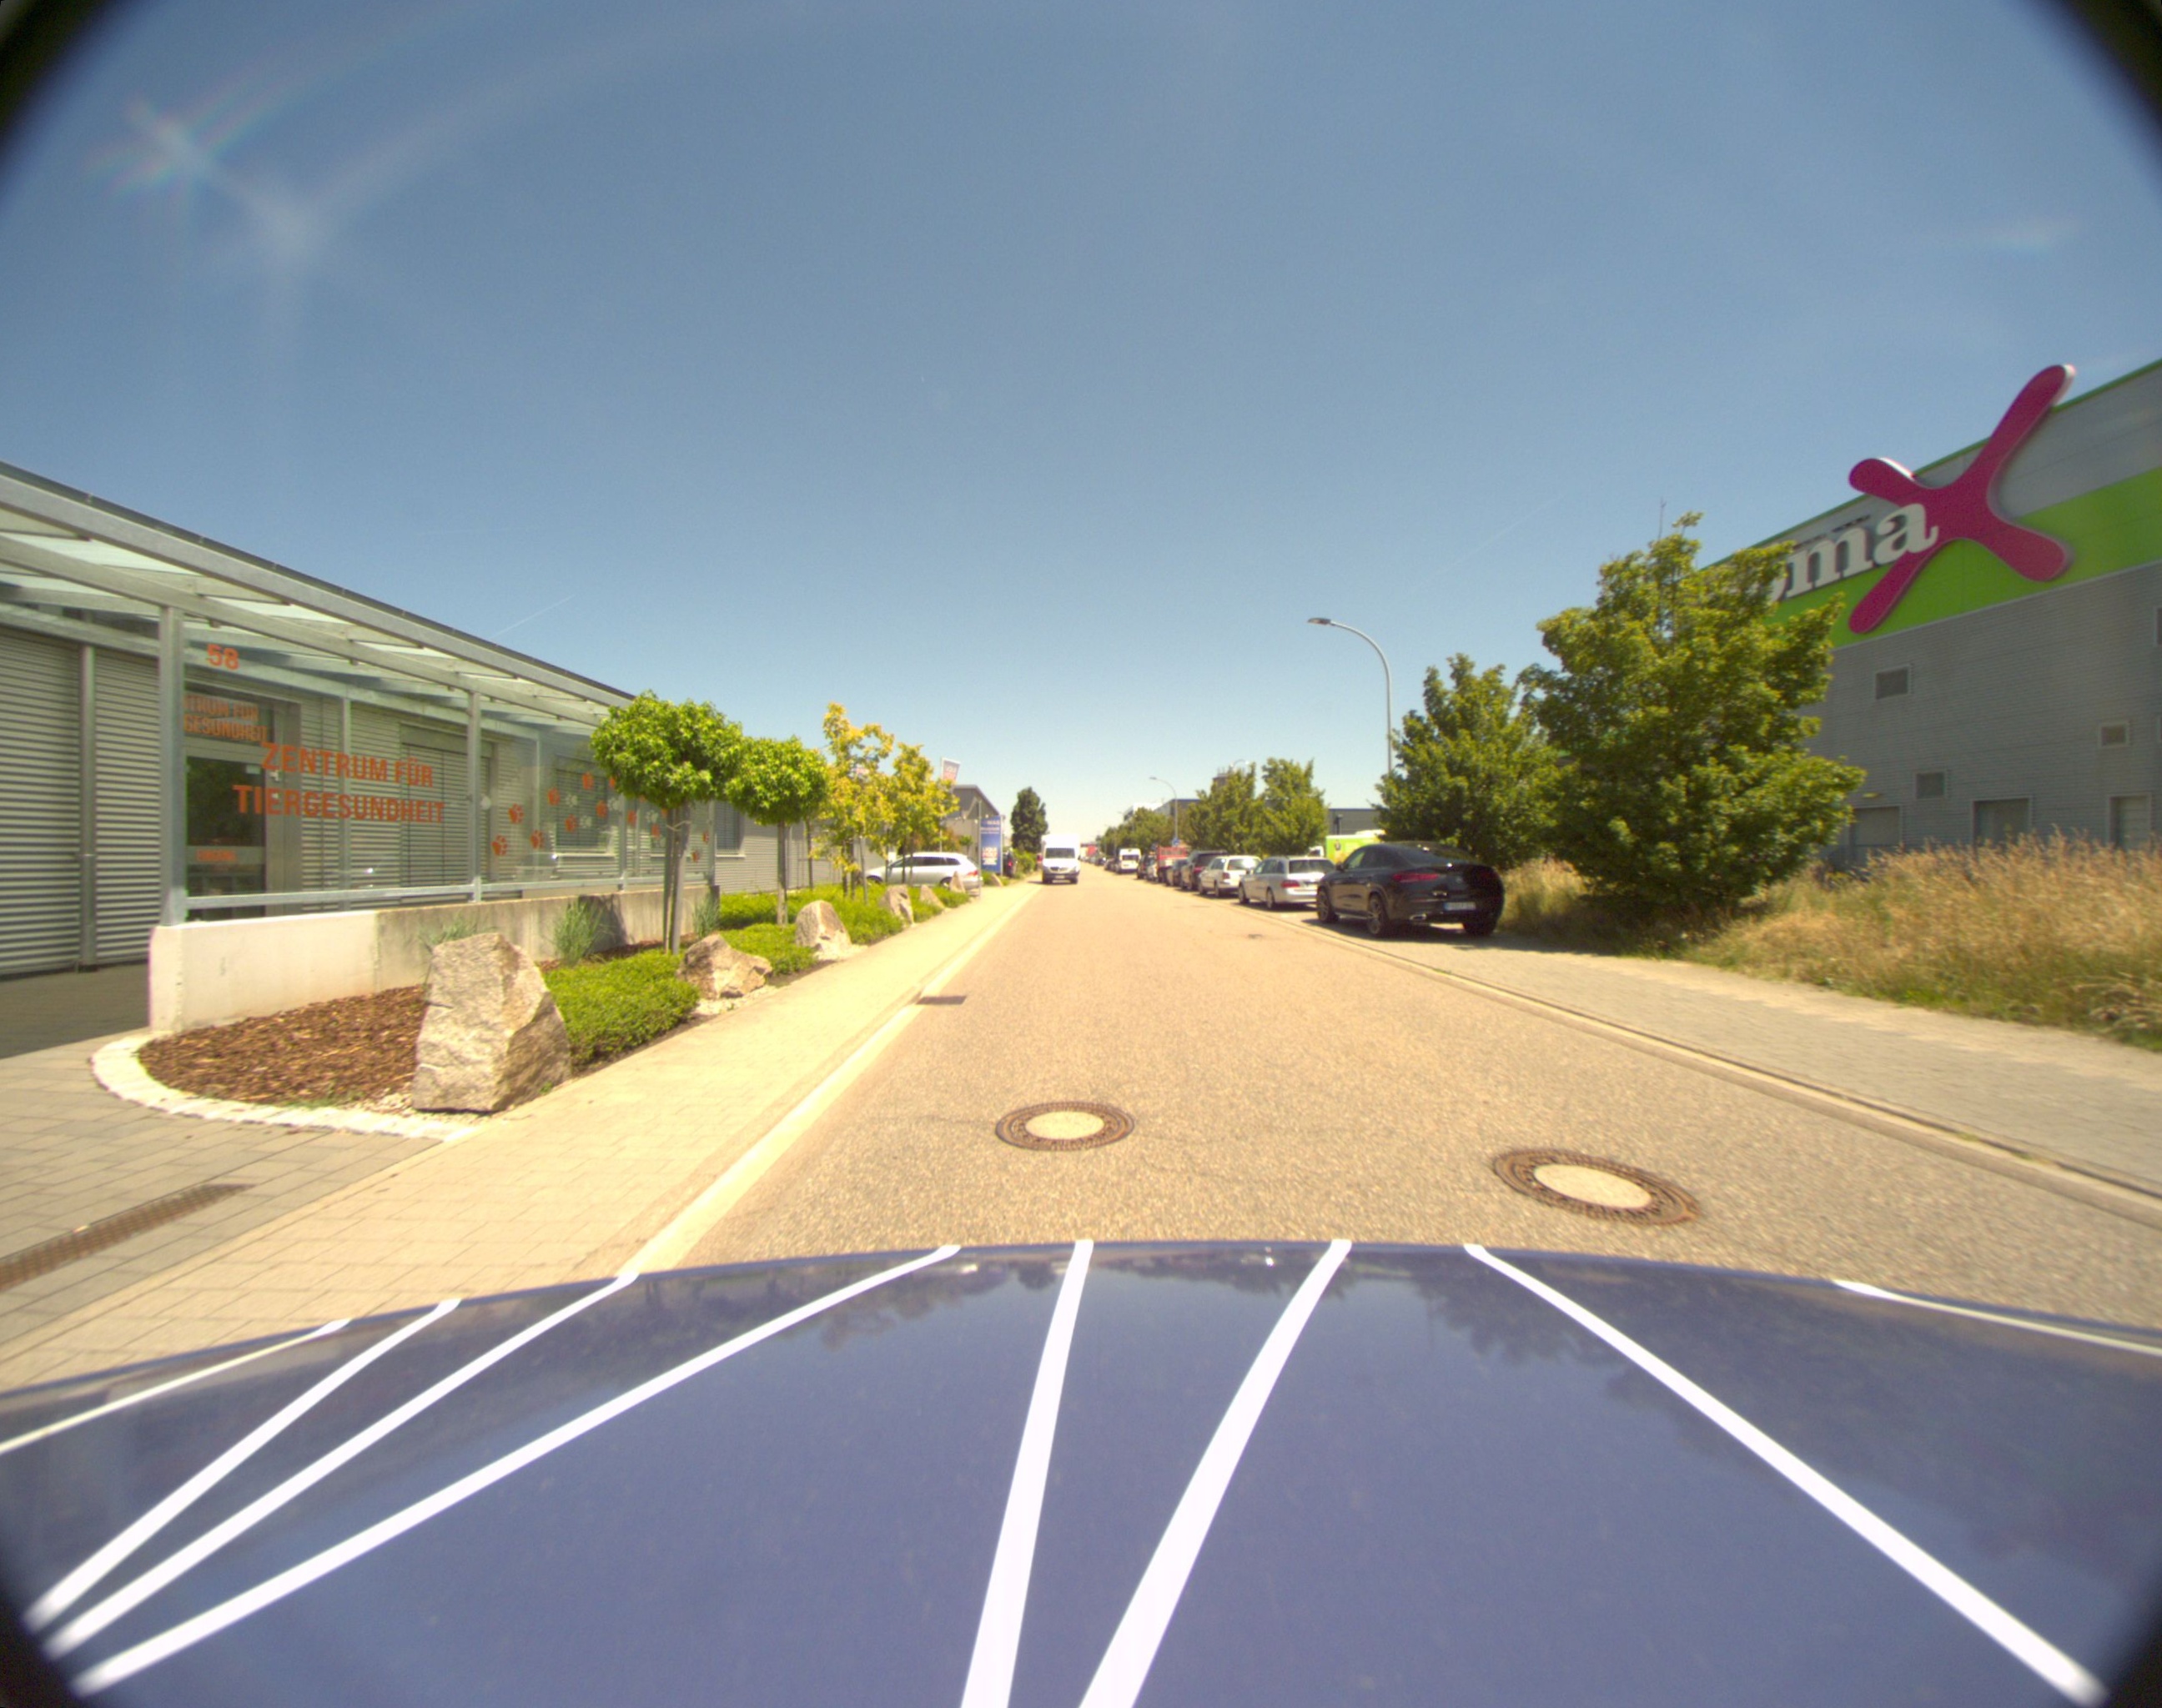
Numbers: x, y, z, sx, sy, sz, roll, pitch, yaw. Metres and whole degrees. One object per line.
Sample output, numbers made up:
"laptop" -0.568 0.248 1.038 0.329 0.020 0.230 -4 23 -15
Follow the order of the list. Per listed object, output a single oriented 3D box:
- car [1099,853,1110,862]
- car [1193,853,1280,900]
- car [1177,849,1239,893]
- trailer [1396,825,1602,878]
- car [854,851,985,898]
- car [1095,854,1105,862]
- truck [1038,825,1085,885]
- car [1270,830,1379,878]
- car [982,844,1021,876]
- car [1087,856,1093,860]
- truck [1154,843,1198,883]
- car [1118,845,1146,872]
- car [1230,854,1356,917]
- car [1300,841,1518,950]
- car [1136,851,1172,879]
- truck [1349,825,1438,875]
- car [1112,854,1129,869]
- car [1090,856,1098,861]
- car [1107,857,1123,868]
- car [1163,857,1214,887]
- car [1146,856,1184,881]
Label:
"car" 4.595 0.676 149.165 1.799 1.638 3.830 1 0 -2
"car" 5.515 0.765 27.644 1.857 1.510 4.903 -1 0 -3
"car" 5.469 0.700 33.269 1.856 1.748 4.986 -1 0 0
"trailer" 34.806 -0.190 63.684 15.359 4.064 3.219 1 0 0
"car" -5.612 0.706 26.883 4.292 1.532 1.912 1 0 -4
"car" 3.905 0.849 159.273 1.799 1.701 3.830 -1 0 -2
"truck" -1.016 0.071 44.448 2.463 3.186 6.882 0 0 1
"car" 15.254 0.009 47.847 5.990 2.908 2.520 -1 0 -1
"car" -5.209 0.390 50.275 1.998 2.002 5.336 0 0 0
"car" 2.958 1.378 252.277 1.799 1.319 3.830 -1 0 -2
"truck" 5.511 0.512 44.688 1.856 2.209 4.645 -1 0 -1
"car" 5.067 0.470 76.525 2.329 2.583 6.085 -1 0 0
"car" 5.834 0.800 21.647 1.857 1.510 5.165 -1 0 -3
"car" 6.006 0.673 14.745 1.996 1.703 5.006 -1 0 -1
"car" 5.298 0.775 55.517 1.979 1.889 5.402 -1 0 -1
"truck" 26.090 -0.317 63.724 6.121 4.064 3.219 1 0 0
"car" 4.845 0.918 93.194 1.836 1.800 4.082 -1 0 0
"car" 3.126 1.105 189.121 1.799 1.319 3.830 -1 0 -2
"car" 4.691 1.118 105.858 1.799 1.477 4.451 -1 0 -1
"car" 5.473 0.878 39.194 1.856 1.435 4.753 -1 0 -1
"car" 5.380 0.899 49.286 1.856 1.541 3.766 -1 0 -3
